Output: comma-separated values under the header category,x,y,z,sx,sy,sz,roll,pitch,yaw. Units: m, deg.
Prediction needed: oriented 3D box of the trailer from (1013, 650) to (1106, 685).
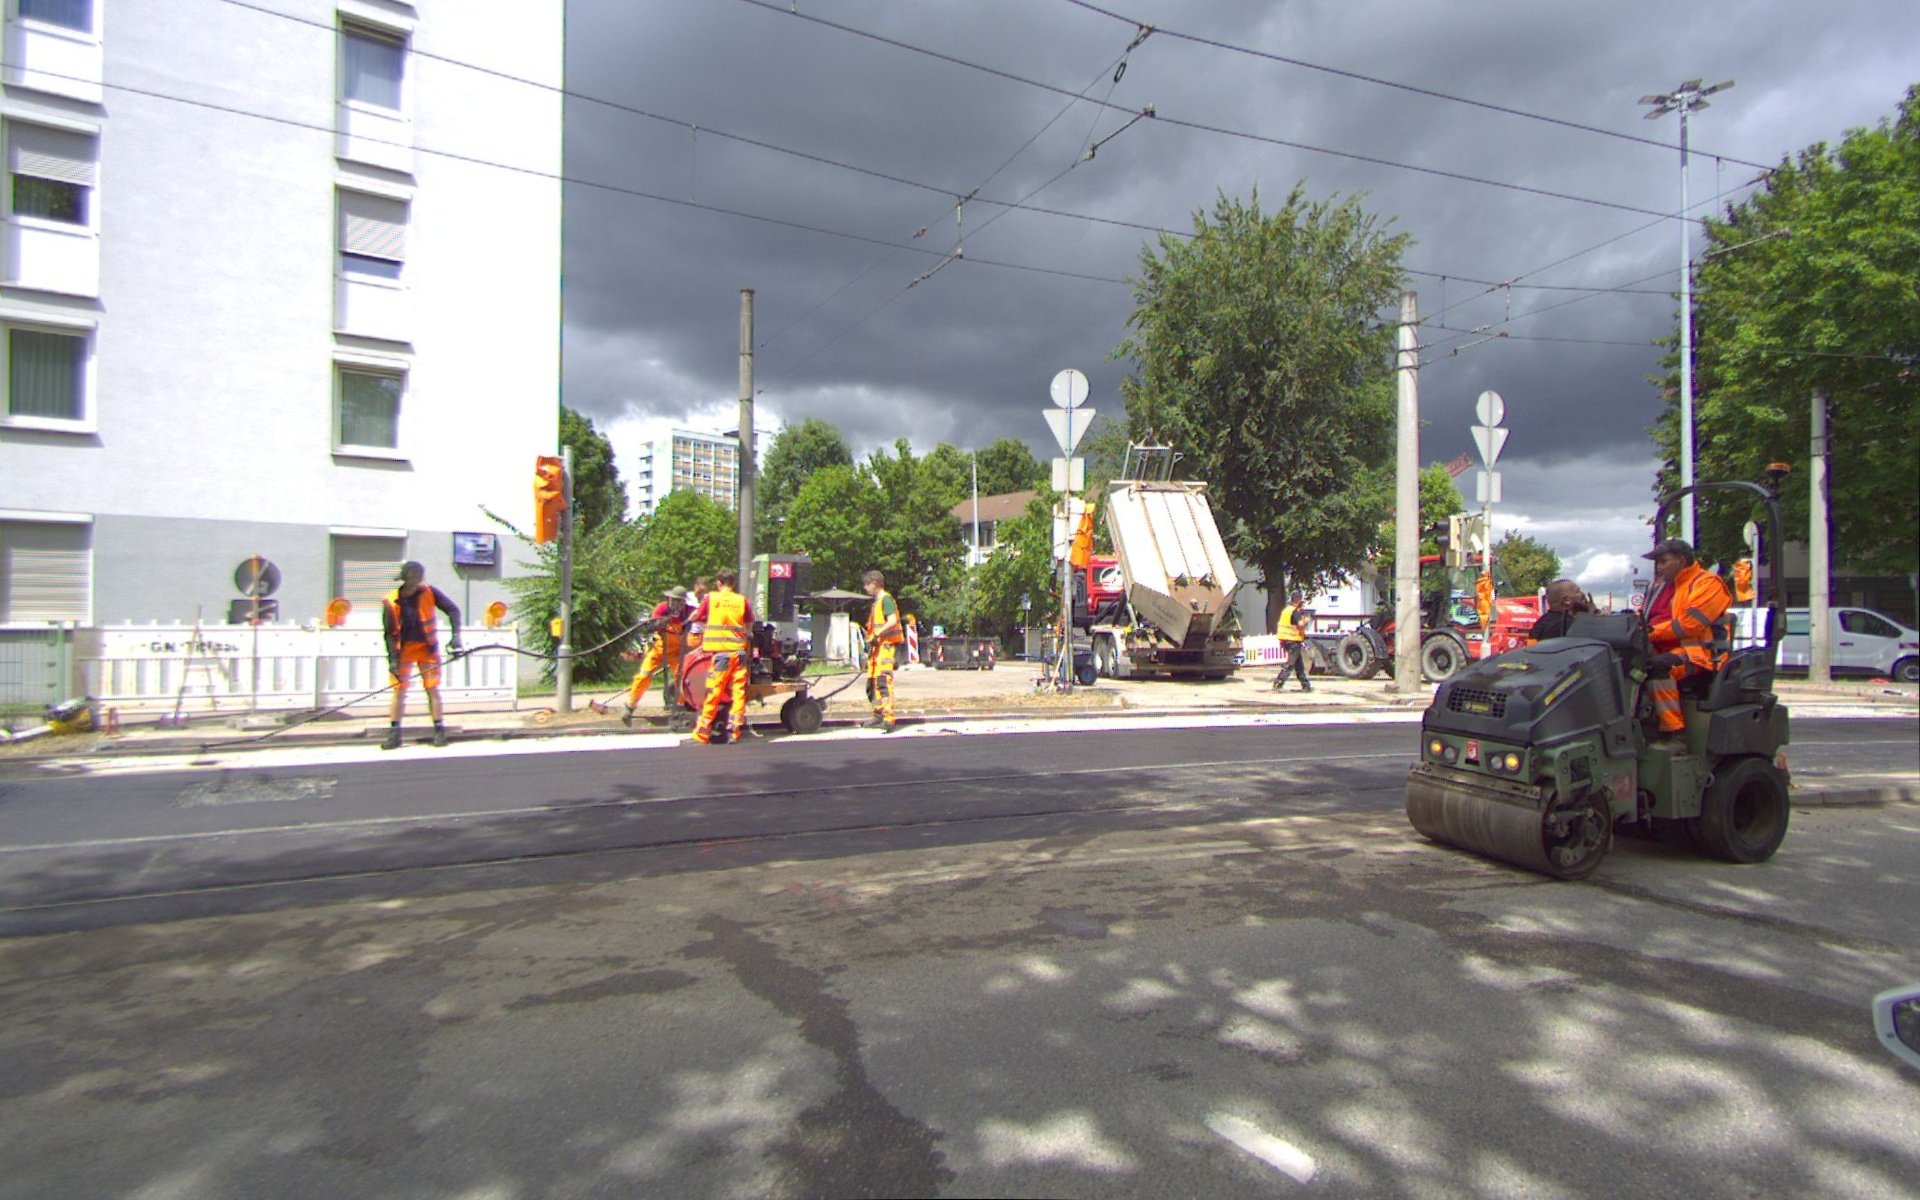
category,x,y,z,sx,sy,sz,roll,pitch,yaw
trailer,1.812,1.236,18.414,1.568,0.624,0.796,1,-2,-9

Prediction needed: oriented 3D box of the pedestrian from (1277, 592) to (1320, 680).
category,x,y,z,sx,sy,sz,roll,pitch,yaw
pedestrian,7.073,0.742,20.966,0.605,1.812,0.577,0,-1,-30

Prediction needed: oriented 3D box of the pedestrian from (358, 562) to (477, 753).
category,x,y,z,sx,sy,sz,roll,pitch,yaw
pedestrian,-5.183,0.532,9.653,0.905,1.739,0.749,0,0,-22

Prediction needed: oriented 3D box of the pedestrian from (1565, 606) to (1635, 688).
category,x,y,z,sx,sy,sz,roll,pitch,yaw
pedestrian,13.429,0.970,21.084,0.863,1.681,0.923,0,-1,-25

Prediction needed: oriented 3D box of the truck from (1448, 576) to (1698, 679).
category,x,y,z,sx,sy,sz,roll,pitch,yaw
truck,16.993,0.848,28.229,2.389,2.601,5.544,1,-3,-28

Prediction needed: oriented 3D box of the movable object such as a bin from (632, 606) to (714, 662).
category,x,y,z,sx,sy,sz,roll,pitch,yaw
movable object such as a bin,-13.109,1.564,45.745,1.986,2.441,3.949,2,-3,-43

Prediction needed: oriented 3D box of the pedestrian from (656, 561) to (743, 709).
category,x,y,z,sx,sy,sz,roll,pitch,yaw
pedestrian,-3.456,0.456,13.273,0.863,1.848,1.088,1,-2,-29

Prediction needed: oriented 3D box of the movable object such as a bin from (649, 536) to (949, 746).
category,x,y,z,sx,sy,sz,roll,pitch,yaw
movable object such as a bin,-1.855,0.450,11.292,2.927,2.040,1.989,1,-2,-24

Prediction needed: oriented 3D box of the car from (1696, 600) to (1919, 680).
category,x,y,z,sx,sy,sz,roll,pitch,yaw
car,22.336,1.045,25.968,5.176,1.911,1.990,-1,-4,43

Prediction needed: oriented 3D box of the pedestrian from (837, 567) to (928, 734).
category,x,y,z,sx,sy,sz,roll,pitch,yaw
pedestrian,-0.909,0.579,11.750,0.761,1.863,0.776,1,-2,-35

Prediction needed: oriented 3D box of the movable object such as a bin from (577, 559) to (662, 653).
category,x,y,z,sx,sy,sz,roll,pitch,yaw
movable object such as a bin,-17.883,0.407,52.486,2.796,4.595,6.155,2,-2,-32

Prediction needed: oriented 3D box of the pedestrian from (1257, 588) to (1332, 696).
category,x,y,z,sx,sy,sz,roll,pitch,yaw
pedestrian,5.926,0.733,17.807,0.955,1.857,0.794,2,0,-13

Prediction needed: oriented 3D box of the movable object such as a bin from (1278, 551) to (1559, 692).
category,x,y,z,sx,sy,sz,roll,pitch,yaw
movable object such as a bin,9.852,0.457,22.172,2.089,2.704,5.549,2,-1,-27

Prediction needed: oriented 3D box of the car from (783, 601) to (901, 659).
category,x,y,z,sx,sy,sz,roll,pitch,yaw
car,-4.146,1.037,34.805,1.985,1.906,4.291,2,-2,-41

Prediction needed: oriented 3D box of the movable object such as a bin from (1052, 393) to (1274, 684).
category,x,y,z,sx,sy,sz,roll,pitch,yaw
movable object such as a bin,4.350,-1.004,23.830,2.767,5.557,9.032,1,-2,-5

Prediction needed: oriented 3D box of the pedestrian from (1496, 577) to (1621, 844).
category,x,y,z,sx,sy,sz,roll,pitch,yaw
pedestrian,4.028,0.710,6.766,0.552,1.704,0.466,1,1,-30

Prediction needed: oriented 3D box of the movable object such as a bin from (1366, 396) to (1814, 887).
category,x,y,z,sx,sy,sz,roll,pitch,yaw
movable object such as a bin,3.996,0.245,6.432,2.328,2.628,1.314,1,0,-22

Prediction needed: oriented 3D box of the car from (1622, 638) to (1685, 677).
category,x,y,z,sx,sy,sz,roll,pitch,yaw
car,28.036,2.305,40.550,1.751,1.478,3.859,-1,-3,40

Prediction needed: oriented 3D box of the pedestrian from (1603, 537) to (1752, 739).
category,x,y,z,sx,sy,sz,roll,pitch,yaw
pedestrian,4.638,0.244,6.510,0.608,1.232,0.548,1,-1,-22

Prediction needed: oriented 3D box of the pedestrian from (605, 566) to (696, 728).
category,x,y,z,sx,sy,sz,roll,pitch,yaw
pedestrian,-3.503,0.515,11.337,0.905,1.739,0.855,0,0,-22
